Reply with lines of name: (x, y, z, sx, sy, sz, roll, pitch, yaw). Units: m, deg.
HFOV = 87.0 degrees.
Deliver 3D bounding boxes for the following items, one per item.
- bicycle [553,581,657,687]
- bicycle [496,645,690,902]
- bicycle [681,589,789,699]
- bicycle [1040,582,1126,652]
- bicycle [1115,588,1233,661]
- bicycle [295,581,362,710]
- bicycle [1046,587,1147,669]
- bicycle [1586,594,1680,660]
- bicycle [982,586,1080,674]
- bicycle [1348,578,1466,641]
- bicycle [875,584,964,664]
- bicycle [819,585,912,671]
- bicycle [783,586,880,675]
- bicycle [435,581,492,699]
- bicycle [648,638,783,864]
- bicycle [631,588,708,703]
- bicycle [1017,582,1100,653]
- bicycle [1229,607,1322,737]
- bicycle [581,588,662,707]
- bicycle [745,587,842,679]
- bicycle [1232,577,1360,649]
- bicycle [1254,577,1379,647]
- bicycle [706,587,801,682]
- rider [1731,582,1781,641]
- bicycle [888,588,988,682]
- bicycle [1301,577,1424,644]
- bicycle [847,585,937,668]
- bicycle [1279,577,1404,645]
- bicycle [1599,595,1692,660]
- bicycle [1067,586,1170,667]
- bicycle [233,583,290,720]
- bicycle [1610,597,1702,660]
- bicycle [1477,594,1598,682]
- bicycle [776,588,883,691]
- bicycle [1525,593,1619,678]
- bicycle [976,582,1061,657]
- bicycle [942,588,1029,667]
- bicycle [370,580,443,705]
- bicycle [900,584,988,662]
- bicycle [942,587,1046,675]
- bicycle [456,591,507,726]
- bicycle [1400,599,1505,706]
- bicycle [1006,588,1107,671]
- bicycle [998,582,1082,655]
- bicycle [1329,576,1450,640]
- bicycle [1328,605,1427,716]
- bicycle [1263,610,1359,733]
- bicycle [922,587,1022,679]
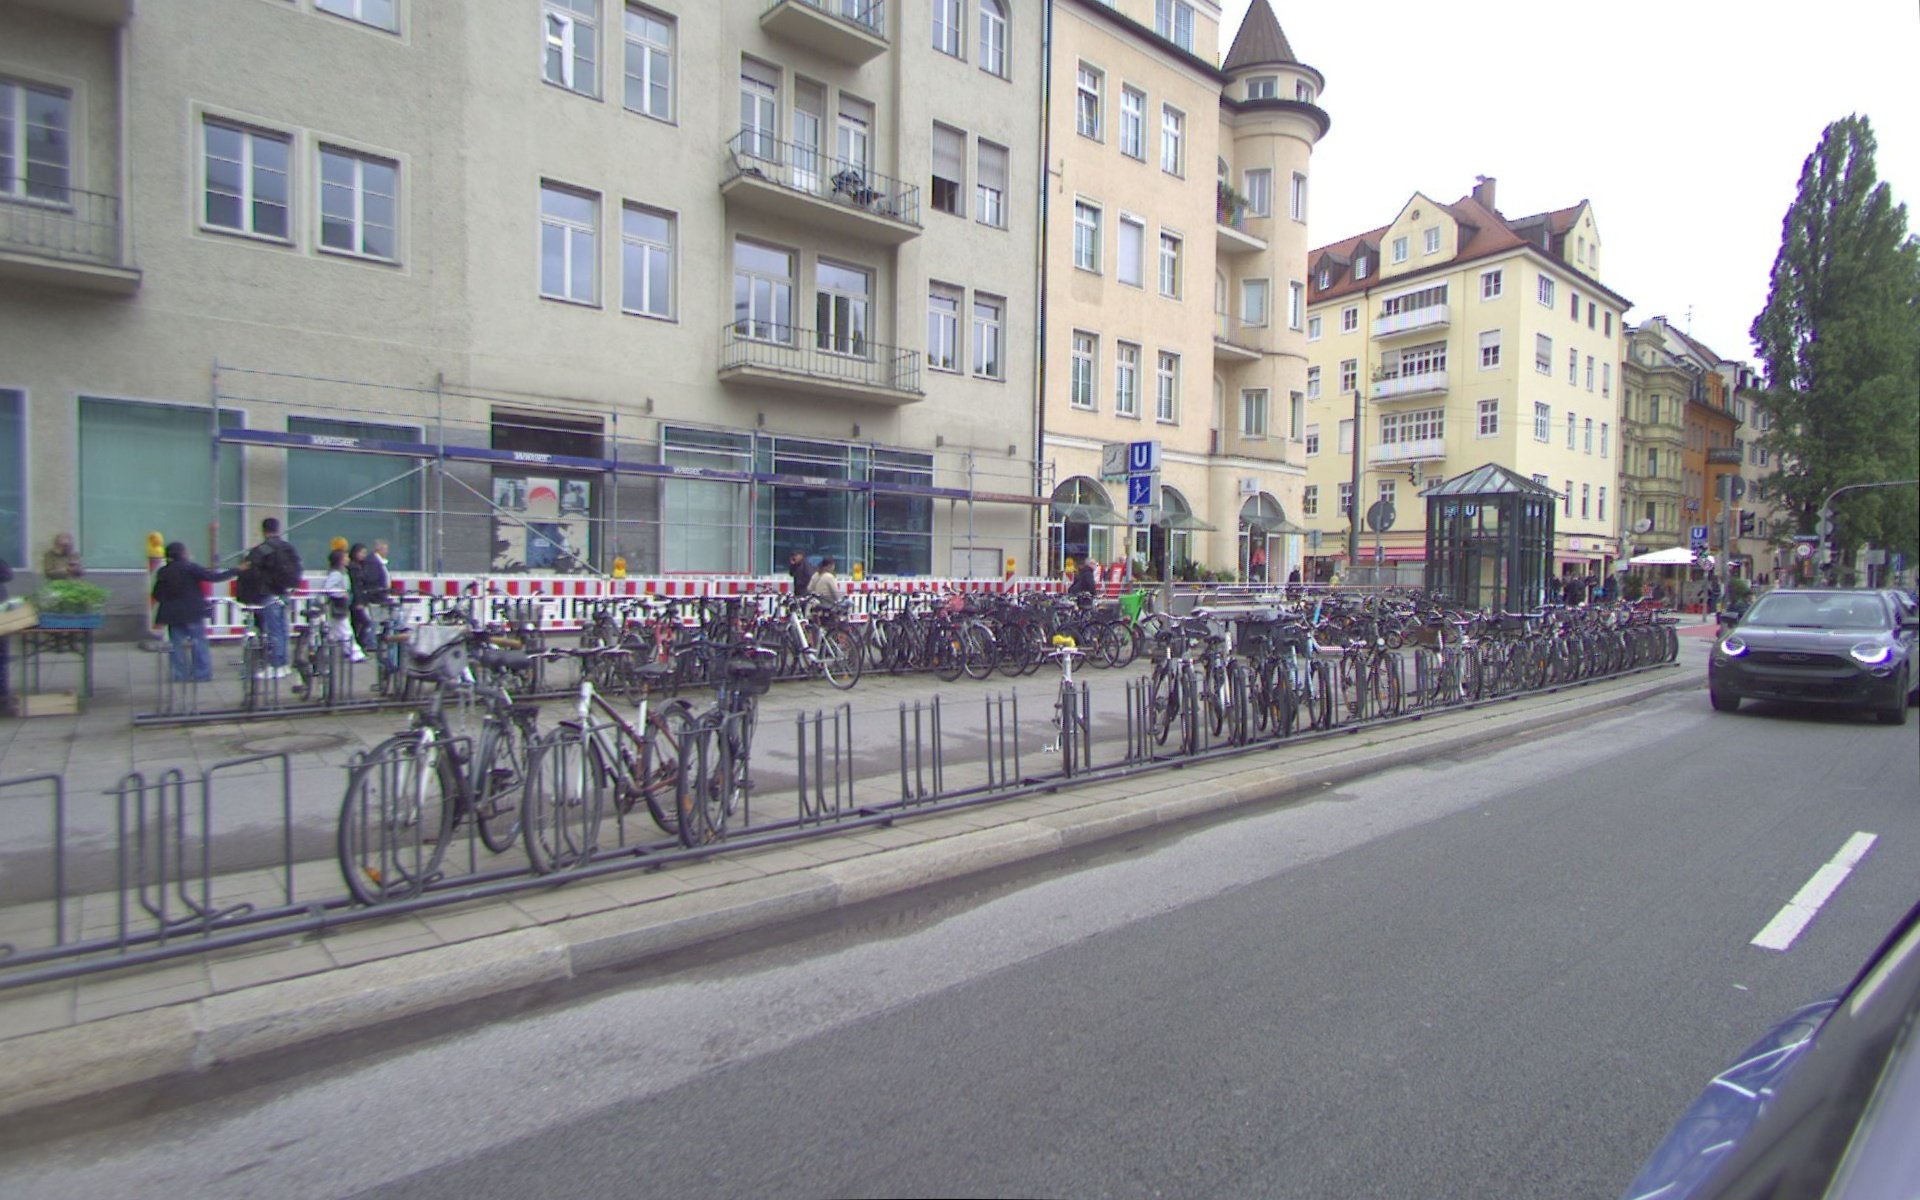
bicycle: (-4.206, 0.365, 11.940, 1.627, 1.116, 0.404, 3, 3, 41)
bicycle: (-1.752, 0.753, 5.074, 0.379, 1.024, 1.802, 0, -2, -2)
bicycle: (-2.529, 0.454, 11.287, 1.447, 1.091, 0.404, 4, 3, 41)
bicycle: (2.099, 0.263, 17.445, 0.403, 1.091, 1.651, -1, 3, -37)
bicycle: (3.346, 0.381, 15.895, 1.728, 1.091, 0.410, 1, 2, 0)
bicycle: (-6.267, 0.406, 10.017, 0.403, 1.116, 1.633, -1, 3, -38)
bicycle: (2.012, 0.386, 15.124, 0.403, 1.091, 1.604, -1, 3, -41)
bicycle: (11.410, 0.461, 17.232, 0.390, 1.073, 1.851, -1, -2, 2)
bicycle: (0.968, 0.389, 14.220, 0.402, 1.091, 1.640, -1, 3, -35)
bicycle: (9.642, 0.168, 21.926, 0.617, 1.242, 2.319, 0, 2, -37)
bicycle: (-0.628, 0.339, 15.190, 1.447, 1.091, 0.404, 4, 3, 41)
bicycle: (-1.347, 0.370, 14.252, 1.447, 1.091, 0.404, 4, 3, 41)
bicycle: (-1.758, 0.388, 13.739, 1.530, 1.091, 0.404, 4, 3, 42)
bicycle: (-5.350, 0.386, 10.870, 0.402, 1.116, 1.636, 0, 3, -31)
bicycle: (-1.293, 0.734, 5.610, 0.379, 1.024, 1.802, 0, -2, -2)
bicycle: (-3.127, 0.449, 10.830, 0.402, 1.091, 1.454, 0, 3, -32)
bicycle: (1.636, 0.266, 17.031, 0.403, 1.091, 1.449, -1, 4, -45)
bicycle: (2.848, 0.621, 9.277, 0.390, 1.073, 1.849, -1, -2, 4)
bicycle: (-3.577, 0.459, 10.641, 0.402, 1.091, 1.484, -1, 3, -35)
bicycle: (-2.216, 0.403, 13.371, 1.530, 1.091, 0.404, 4, 3, 42)
bicycle: (6.380, 0.215, 19.373, 0.617, 1.242, 2.369, 0, 2, -37)
bicycle: (6.915, 0.199, 19.772, 0.617, 1.242, 2.344, 0, 2, -37)
bicycle: (-2.665, 0.418, 12.972, 1.447, 1.091, 0.404, 4, 3, 41)
rider: (17.971, 0.237, 22.858, 0.721, 1.256, 0.731, -2, 5, -43)
bicycle: (-0.309, 0.425, 13.199, 0.403, 1.091, 1.538, -1, 3, -41)
bicycle: (8.205, 0.185, 20.758, 0.617, 1.242, 2.344, 0, 2, -37)
bicycle: (-1.002, 0.356, 14.697, 1.447, 1.091, 0.404, 4, 3, 41)
bicycle: (7.539, 0.182, 20.121, 0.617, 1.242, 2.319, 0, 2, -37)
bicycle: (12.015, 0.486, 17.794, 0.390, 1.073, 1.851, -1, -2, 2)
bicycle: (2.376, 0.375, 15.381, 0.403, 1.091, 1.654, -1, 3, -41)
bicycle: (-6.577, 0.433, 9.533, 0.402, 1.116, 1.635, -1, 3, -35)
bicycle: (12.464, 0.509, 18.186, 0.390, 1.073, 1.851, -1, -2, 2)
bicycle: (8.183, 0.501, 14.429, 0.578, 1.151, 1.797, 0, 1, -5)
bicycle: (-1.568, 0.438, 11.997, 1.447, 1.091, 0.404, 4, 3, 41)
bicycle: (8.895, 0.483, 14.771, 0.341, 1.151, 1.527, 0, 1, -5)
bicycle: (0.923, 0.292, 16.322, 0.403, 1.091, 1.449, -1, 4, -45)
bicycle: (0.374, 0.397, 15.585, 0.403, 1.091, 1.529, -1, 3, -41)
bicycle: (-5.687, 0.390, 10.372, 0.403, 1.116, 1.633, -1, 3, -38)
bicycle: (-0.259, 0.327, 15.506, 1.447, 1.091, 0.404, 4, 3, 41)
bicycle: (0.447, 0.398, 14.125, 0.403, 1.091, 1.660, -1, 3, -41)
bicycle: (-4.469, 0.498, 9.465, 0.402, 1.091, 1.477, 0, 3, -25)
bicycle: (5.852, 0.585, 12.130, 0.481, 1.151, 1.794, 0, 1, 3)
bicycle: (1.399, 0.400, 14.887, 0.403, 1.091, 1.624, -1, 3, -41)
bicycle: (1.304, 0.279, 16.683, 0.403, 1.091, 1.449, -1, 4, -45)
bicycle: (9.066, 0.131, 21.457, 0.617, 1.242, 2.331, 0, 2, -37)
bicycle: (4.389, 0.613, 10.752, 0.390, 1.073, 1.849, -1, -2, 4)
bicycle: (3.337, 0.648, 9.751, 0.390, 1.073, 1.849, -1, -2, 4)
bicycle: (0.139, 0.410, 13.565, 0.403, 1.091, 1.527, -1, 3, -41)
